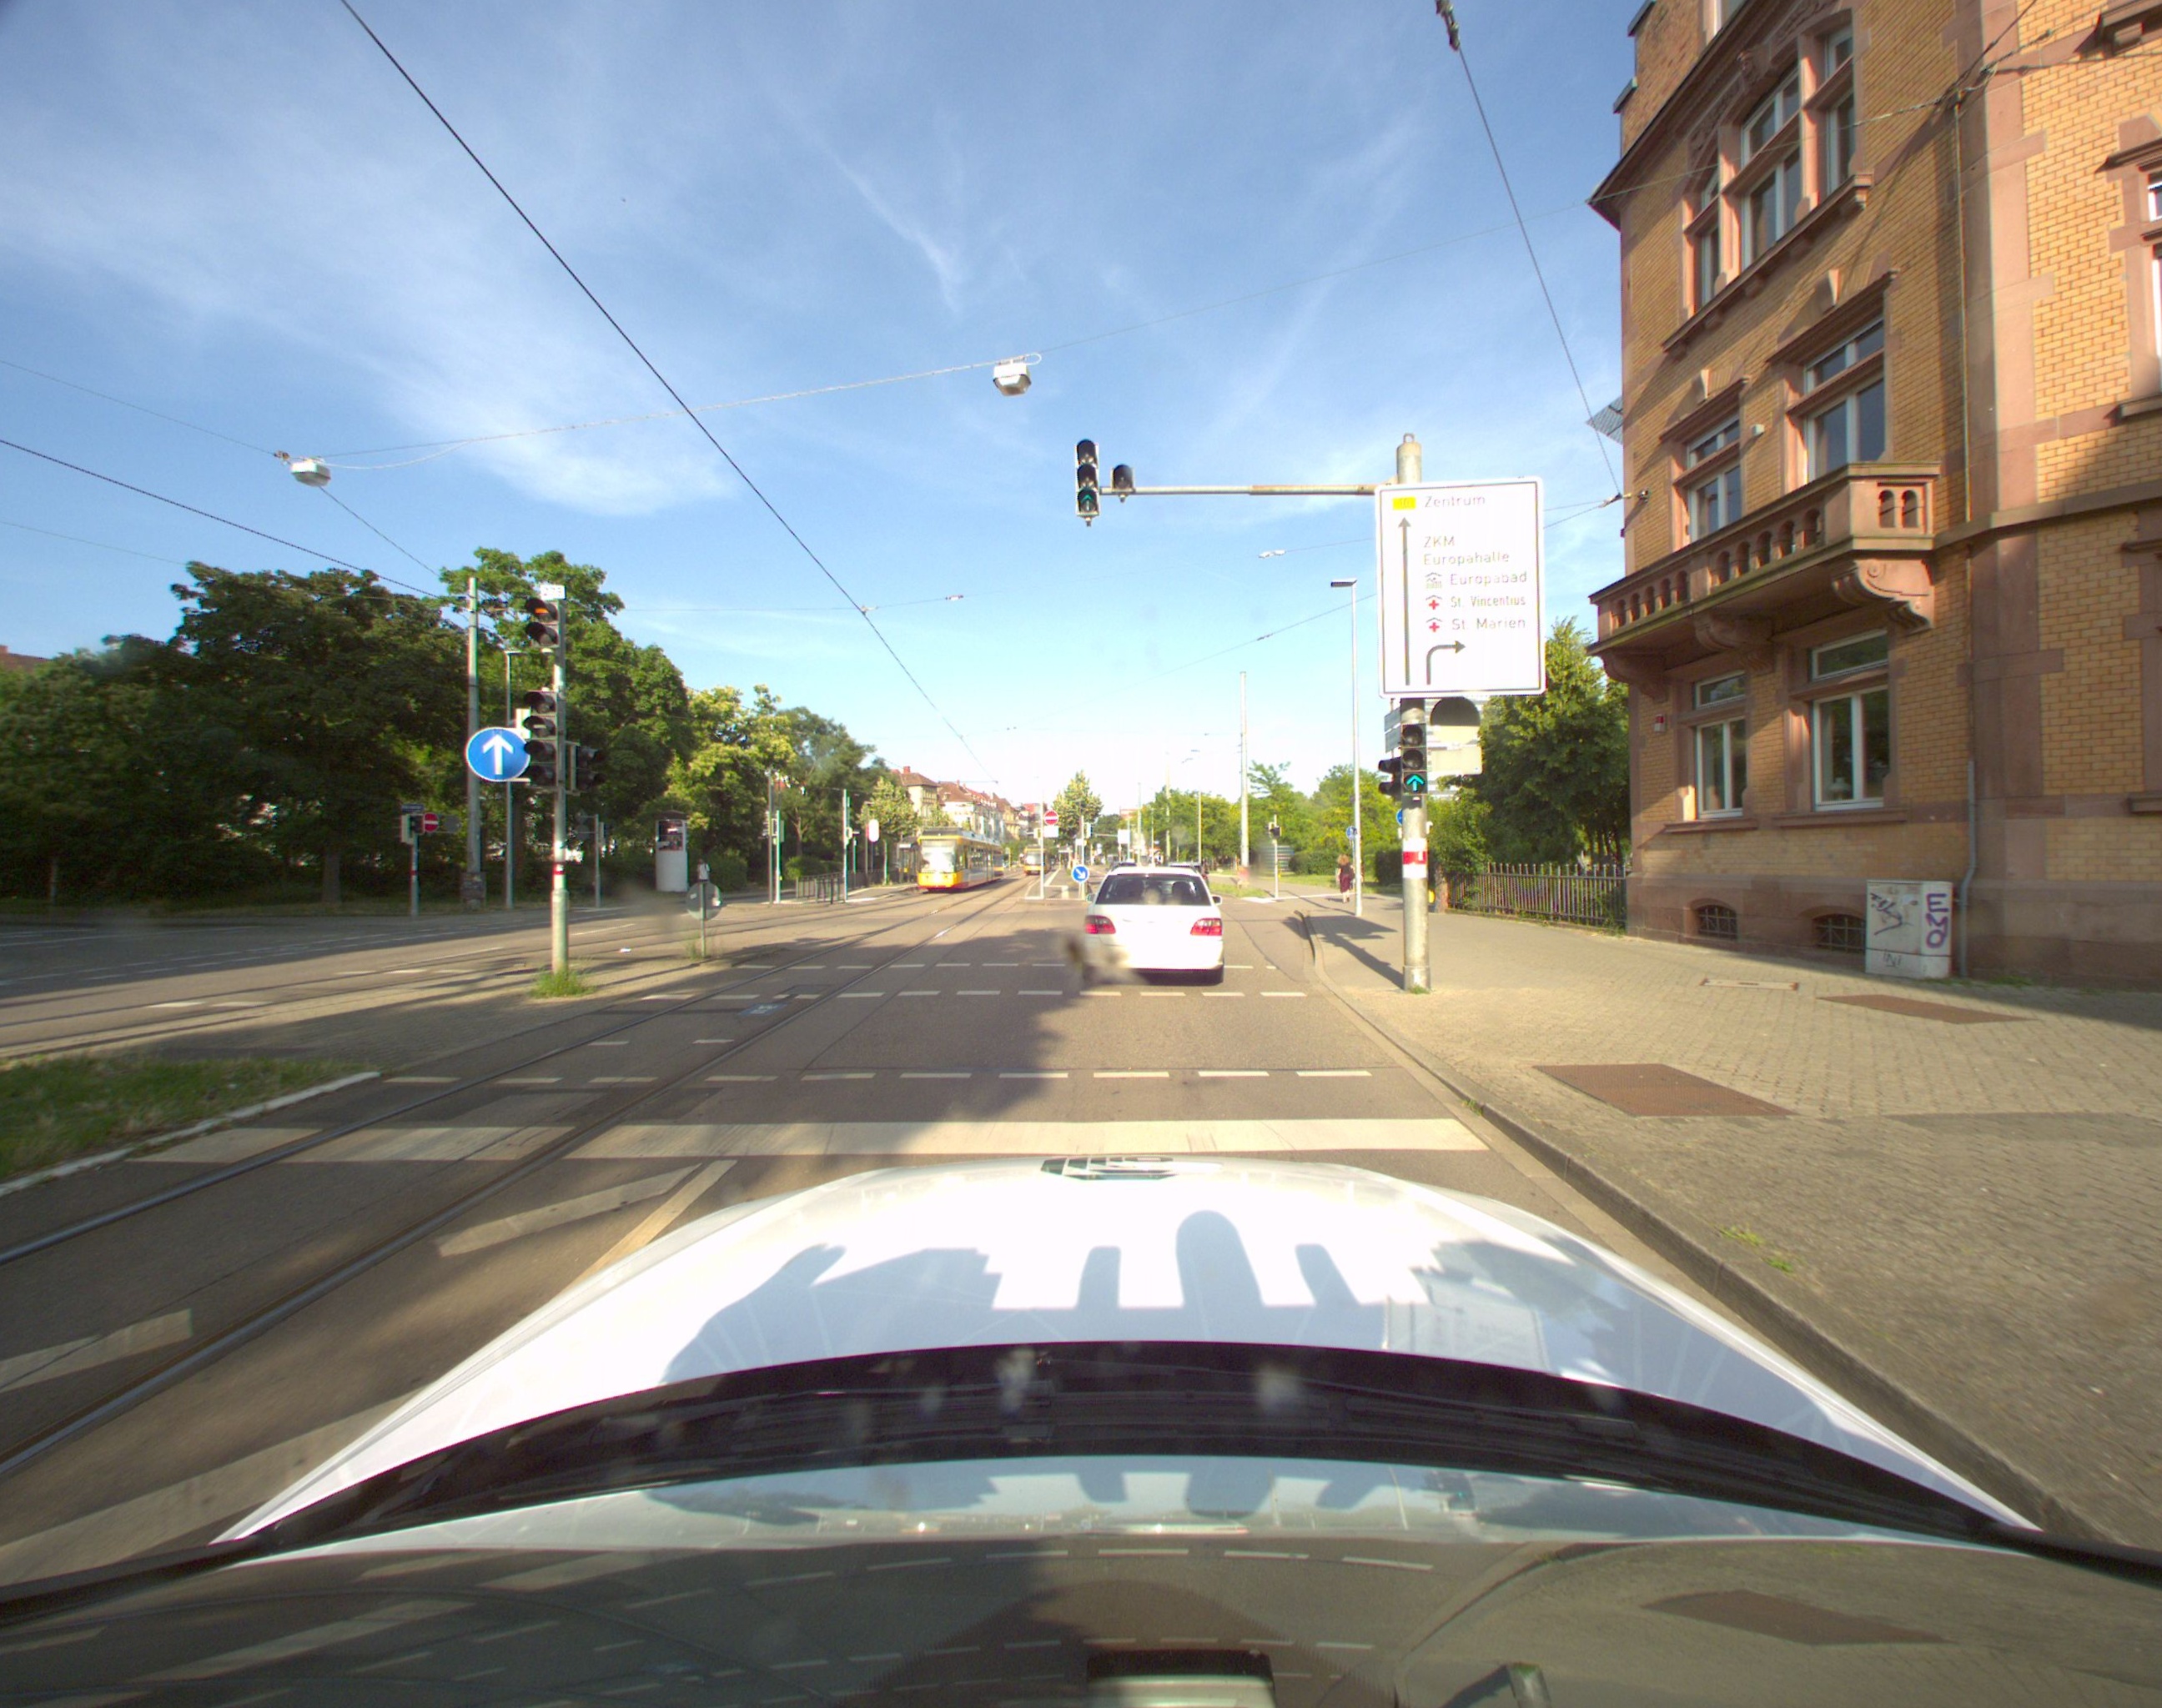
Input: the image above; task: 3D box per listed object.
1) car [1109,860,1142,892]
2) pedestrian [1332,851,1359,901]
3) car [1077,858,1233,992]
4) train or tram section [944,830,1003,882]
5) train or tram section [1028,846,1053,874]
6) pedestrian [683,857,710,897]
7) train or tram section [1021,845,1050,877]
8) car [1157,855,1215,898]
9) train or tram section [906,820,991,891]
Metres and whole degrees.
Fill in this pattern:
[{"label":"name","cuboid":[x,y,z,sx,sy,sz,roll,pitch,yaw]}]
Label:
[{"label":"car","cuboid":[2.539,1.210,46.227,1.780,1.690,4.003,0,0,3]},{"label":"pedestrian","cuboid":[9.254,0.768,28.511,0.612,1.692,0.549,-5,-1,2]},{"label":"car","cuboid":[0.882,0.823,11.261,1.752,1.503,4.001,-1,-1,1]},{"label":"train or tram section","cuboid":[-7.913,0.130,62.054,3.154,3.479,14.458,0,0,-2]},{"label":"train or tram section","cuboid":[-5.264,0.724,108.921,2.841,3.479,13.193,0,0,-1]},{"label":"pedestrian","cuboid":[-18.506,1.109,39.224,1.004,1.909,0.705,0,0,-14]},{"label":"train or tram section","cuboid":[-5.217,0.787,95.976,2.841,3.479,13.193,1,0,-1]},{"label":"car","cuboid":[4.138,0.839,32.597,2.025,1.605,4.003,0,0,3]},{"label":"train or tram section","cuboid":[-7.359,0.104,47.592,3.154,3.479,14.519,0,0,-2]}]
